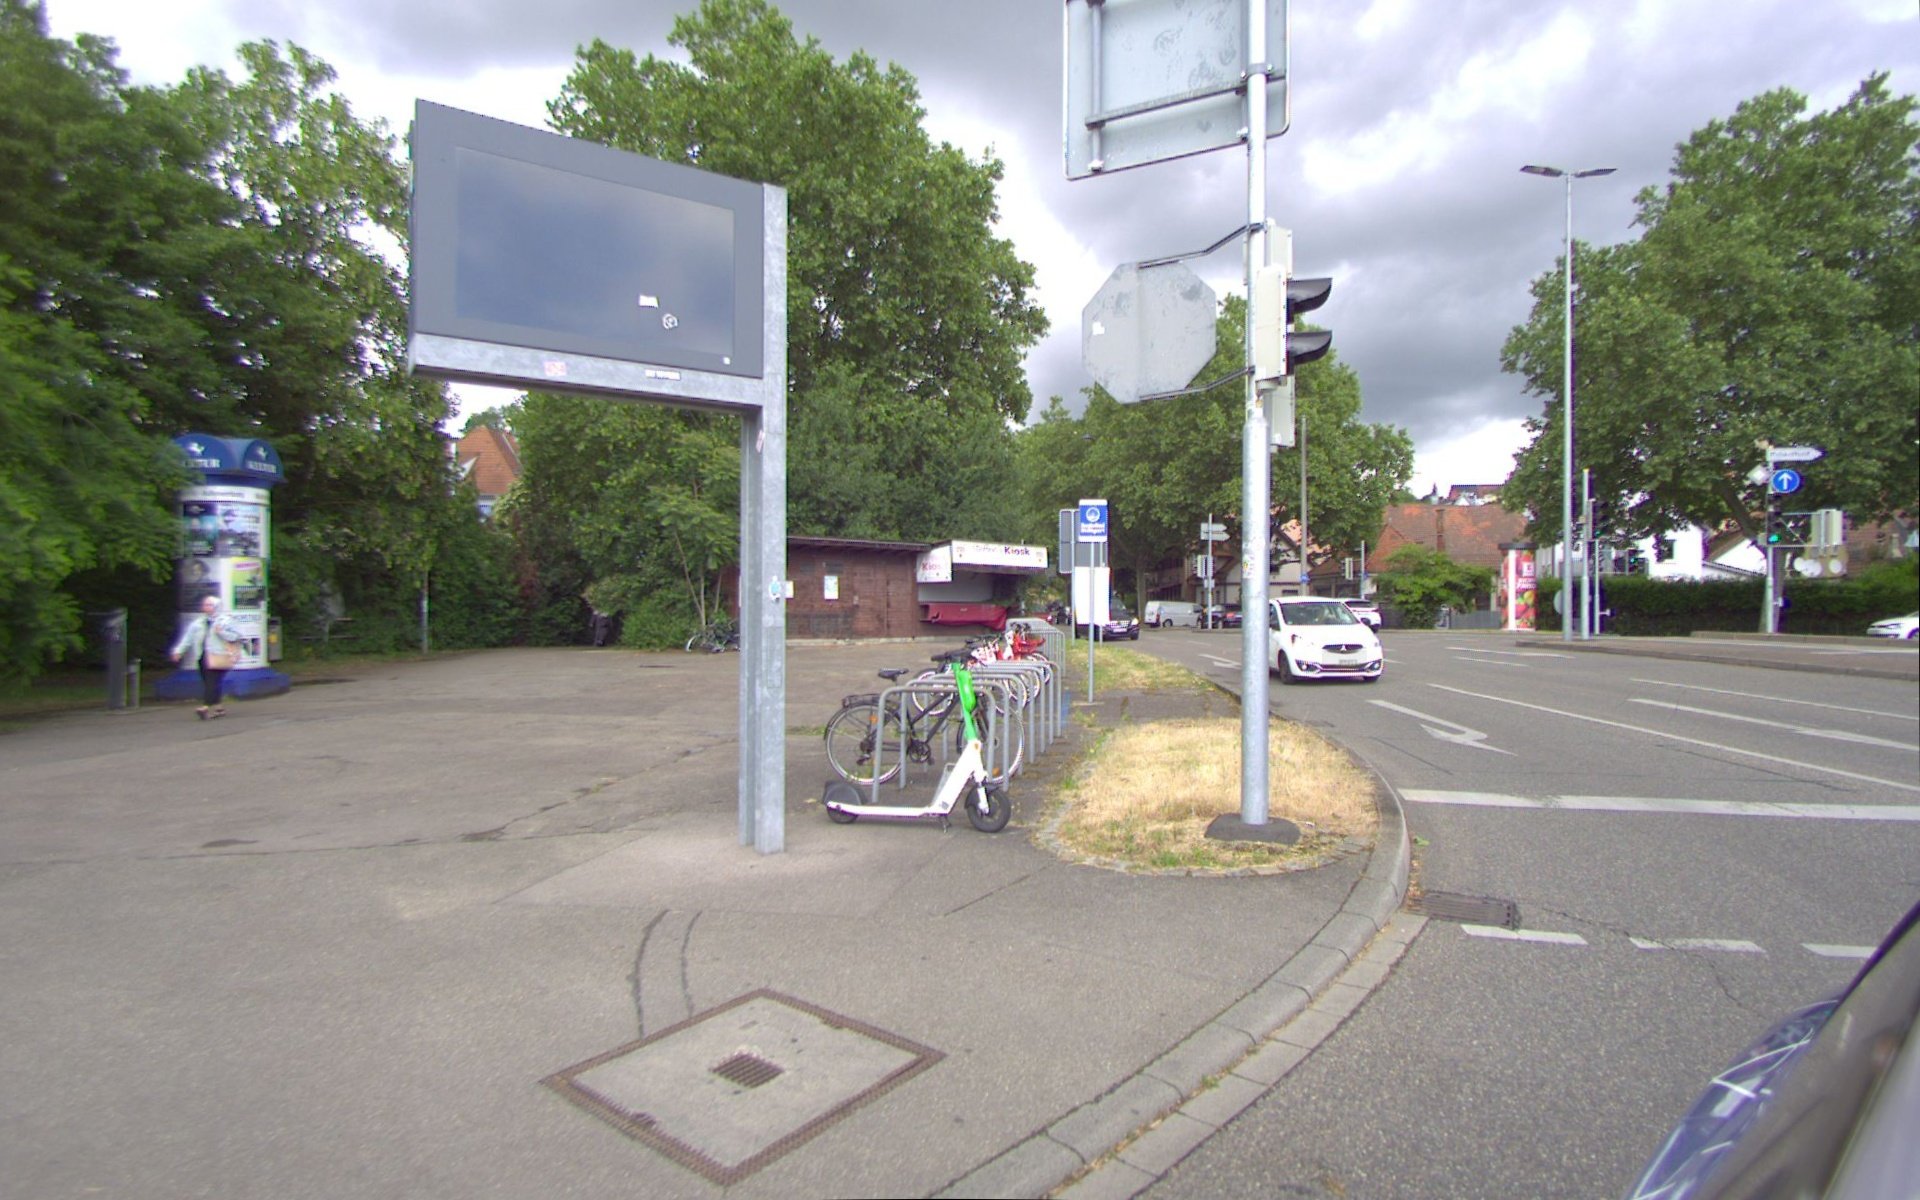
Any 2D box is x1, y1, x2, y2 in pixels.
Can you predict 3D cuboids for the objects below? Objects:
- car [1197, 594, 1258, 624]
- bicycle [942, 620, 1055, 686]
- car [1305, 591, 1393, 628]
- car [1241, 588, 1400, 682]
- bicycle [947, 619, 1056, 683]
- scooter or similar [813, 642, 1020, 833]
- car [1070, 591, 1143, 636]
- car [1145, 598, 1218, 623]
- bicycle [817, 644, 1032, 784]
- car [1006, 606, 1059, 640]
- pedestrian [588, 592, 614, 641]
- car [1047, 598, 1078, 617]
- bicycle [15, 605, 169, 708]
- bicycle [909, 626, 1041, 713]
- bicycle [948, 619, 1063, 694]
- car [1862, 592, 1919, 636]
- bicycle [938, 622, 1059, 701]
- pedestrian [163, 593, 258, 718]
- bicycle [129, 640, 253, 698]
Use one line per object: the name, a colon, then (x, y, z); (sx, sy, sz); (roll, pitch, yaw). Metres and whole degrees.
car: (13.554, 0.427, 51.499); (1.697, 1.466, 4.004); (0, 0, -5)
bicycle: (0.655, 0.891, 17.115); (1.852, 1.065, 0.597); (-1, 0, 8)
car: (15.798, 0.377, 41.315); (1.777, 1.356, 4.120); (-2, -1, -3)
car: (6.436, 0.552, 18.470); (1.644, 1.466, 3.603); (-2, 1, 2)
bicycle: (0.741, 0.888, 17.795); (1.852, 1.065, 0.597); (-1, 0, 8)
scooter or similar: (-0.261, 0.846, 6.548); (1.212, 1.126, 0.652); (-1, -1, 13)
car: (5.362, 0.497, 37.605); (1.687, 1.551, 4.190); (-1, -1, -5)
car: (15.492, 0.718, 70.670); (4.787, 1.720, 1.735); (0, 0, -20)
bicycle: (-0.269, 0.900, 8.190); (1.670, 1.058, 0.607); (-1, -1, 3)
car: (3.800, 1.188, 53.889); (1.858, 1.637, 4.515); (-1, 1, -8)
pedestrian: (-11.830, 0.540, 33.341); (0.495, 1.584, 0.609); (-2, 0, 42)
car: (7.670, 0.546, 76.101); (1.640, 1.331, 3.643); (0, 0, -6)
bicycle: (-12.044, 0.774, 14.064); (1.628, 1.389, 0.645); (0, -2, 5)
bicycle: (0.208, 0.958, 14.109); (1.781, 1.130, 0.582); (-1, 1, 3)
bicycle: (0.724, 0.899, 16.205); (1.781, 1.130, 0.582); (-1, 1, 3)
car: (30.724, 0.418, 31.300); (3.753, 1.337, 1.801); (0, -1, 19)
bicycle: (0.583, 0.931, 15.439); (1.781, 1.130, 0.582); (-1, 1, 3)
pedestrian: (-9.538, 0.690, 12.903); (0.658, 1.533, 0.755); (-1, -1, 0)
bicycle: (-11.936, 1.068, 15.717); (1.628, 0.867, 0.477); (0, -2, 5)
